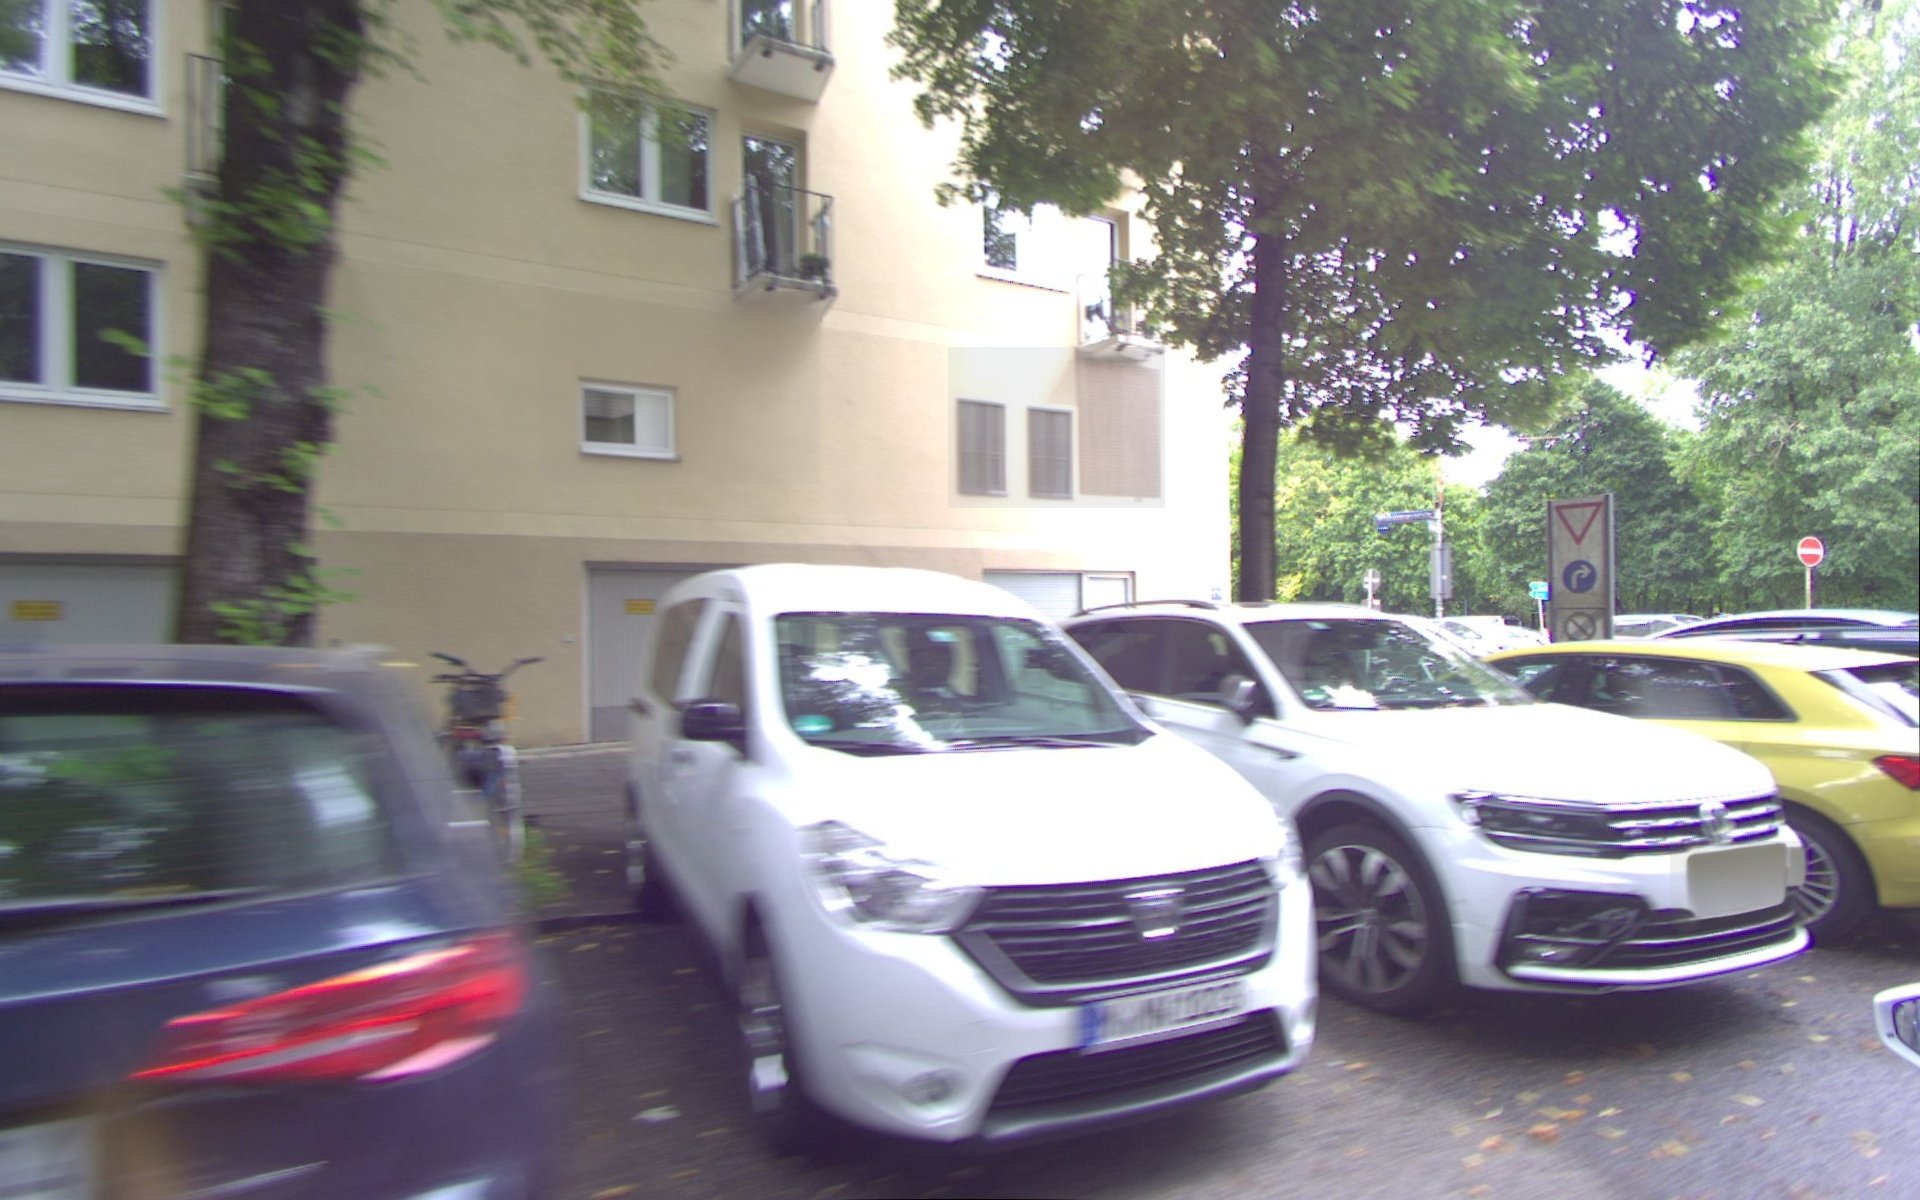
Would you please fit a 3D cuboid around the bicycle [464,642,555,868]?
[{"bbox_3d":[-2.952,0.917,6.586,0.482,1.252,1.675,0,-1,-25],"label":"bicycle"}]

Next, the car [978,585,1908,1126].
[{"bbox_3d":[1.832,0.817,5.424,1.809,1.618,4.438,0,-1,-23],"label":"car"}]

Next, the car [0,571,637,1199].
[{"bbox_3d":[-2.129,0.776,2.676,1.714,1.452,3.971,0,-2,-29],"label":"car"}]

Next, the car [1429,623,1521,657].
[{"bbox_3d":[27.000,2.080,52.767,1.799,1.715,3.972,0,-2,-28],"label":"car"}]

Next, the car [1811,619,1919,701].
[{"bbox_3d":[17.408,1.010,16.957,1.743,1.398,4.342,0,-2,-20],"label":"car"}]

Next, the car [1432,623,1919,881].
[{"bbox_3d":[5.781,0.940,7.328,1.714,1.483,3.971,-1,-2,-29],"label":"car"}]

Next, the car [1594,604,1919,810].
[{"bbox_3d":[8.211,0.866,8.811,1.714,1.622,4.145,-2,-2,-29],"label":"car"}]

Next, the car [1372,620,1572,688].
[{"bbox_3d":[13.120,1.323,26.046,1.972,1.585,4.397,0,-1,-23],"label":"car"}]

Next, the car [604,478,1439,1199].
[{"bbox_3d":[-0.379,0.713,4.429,1.823,1.754,4.301,0,-2,-25],"label":"car"}]

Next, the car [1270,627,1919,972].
[{"bbox_3d":[3.988,0.922,6.162,1.720,1.460,3.862,0,-2,-30],"label":"car"}]
